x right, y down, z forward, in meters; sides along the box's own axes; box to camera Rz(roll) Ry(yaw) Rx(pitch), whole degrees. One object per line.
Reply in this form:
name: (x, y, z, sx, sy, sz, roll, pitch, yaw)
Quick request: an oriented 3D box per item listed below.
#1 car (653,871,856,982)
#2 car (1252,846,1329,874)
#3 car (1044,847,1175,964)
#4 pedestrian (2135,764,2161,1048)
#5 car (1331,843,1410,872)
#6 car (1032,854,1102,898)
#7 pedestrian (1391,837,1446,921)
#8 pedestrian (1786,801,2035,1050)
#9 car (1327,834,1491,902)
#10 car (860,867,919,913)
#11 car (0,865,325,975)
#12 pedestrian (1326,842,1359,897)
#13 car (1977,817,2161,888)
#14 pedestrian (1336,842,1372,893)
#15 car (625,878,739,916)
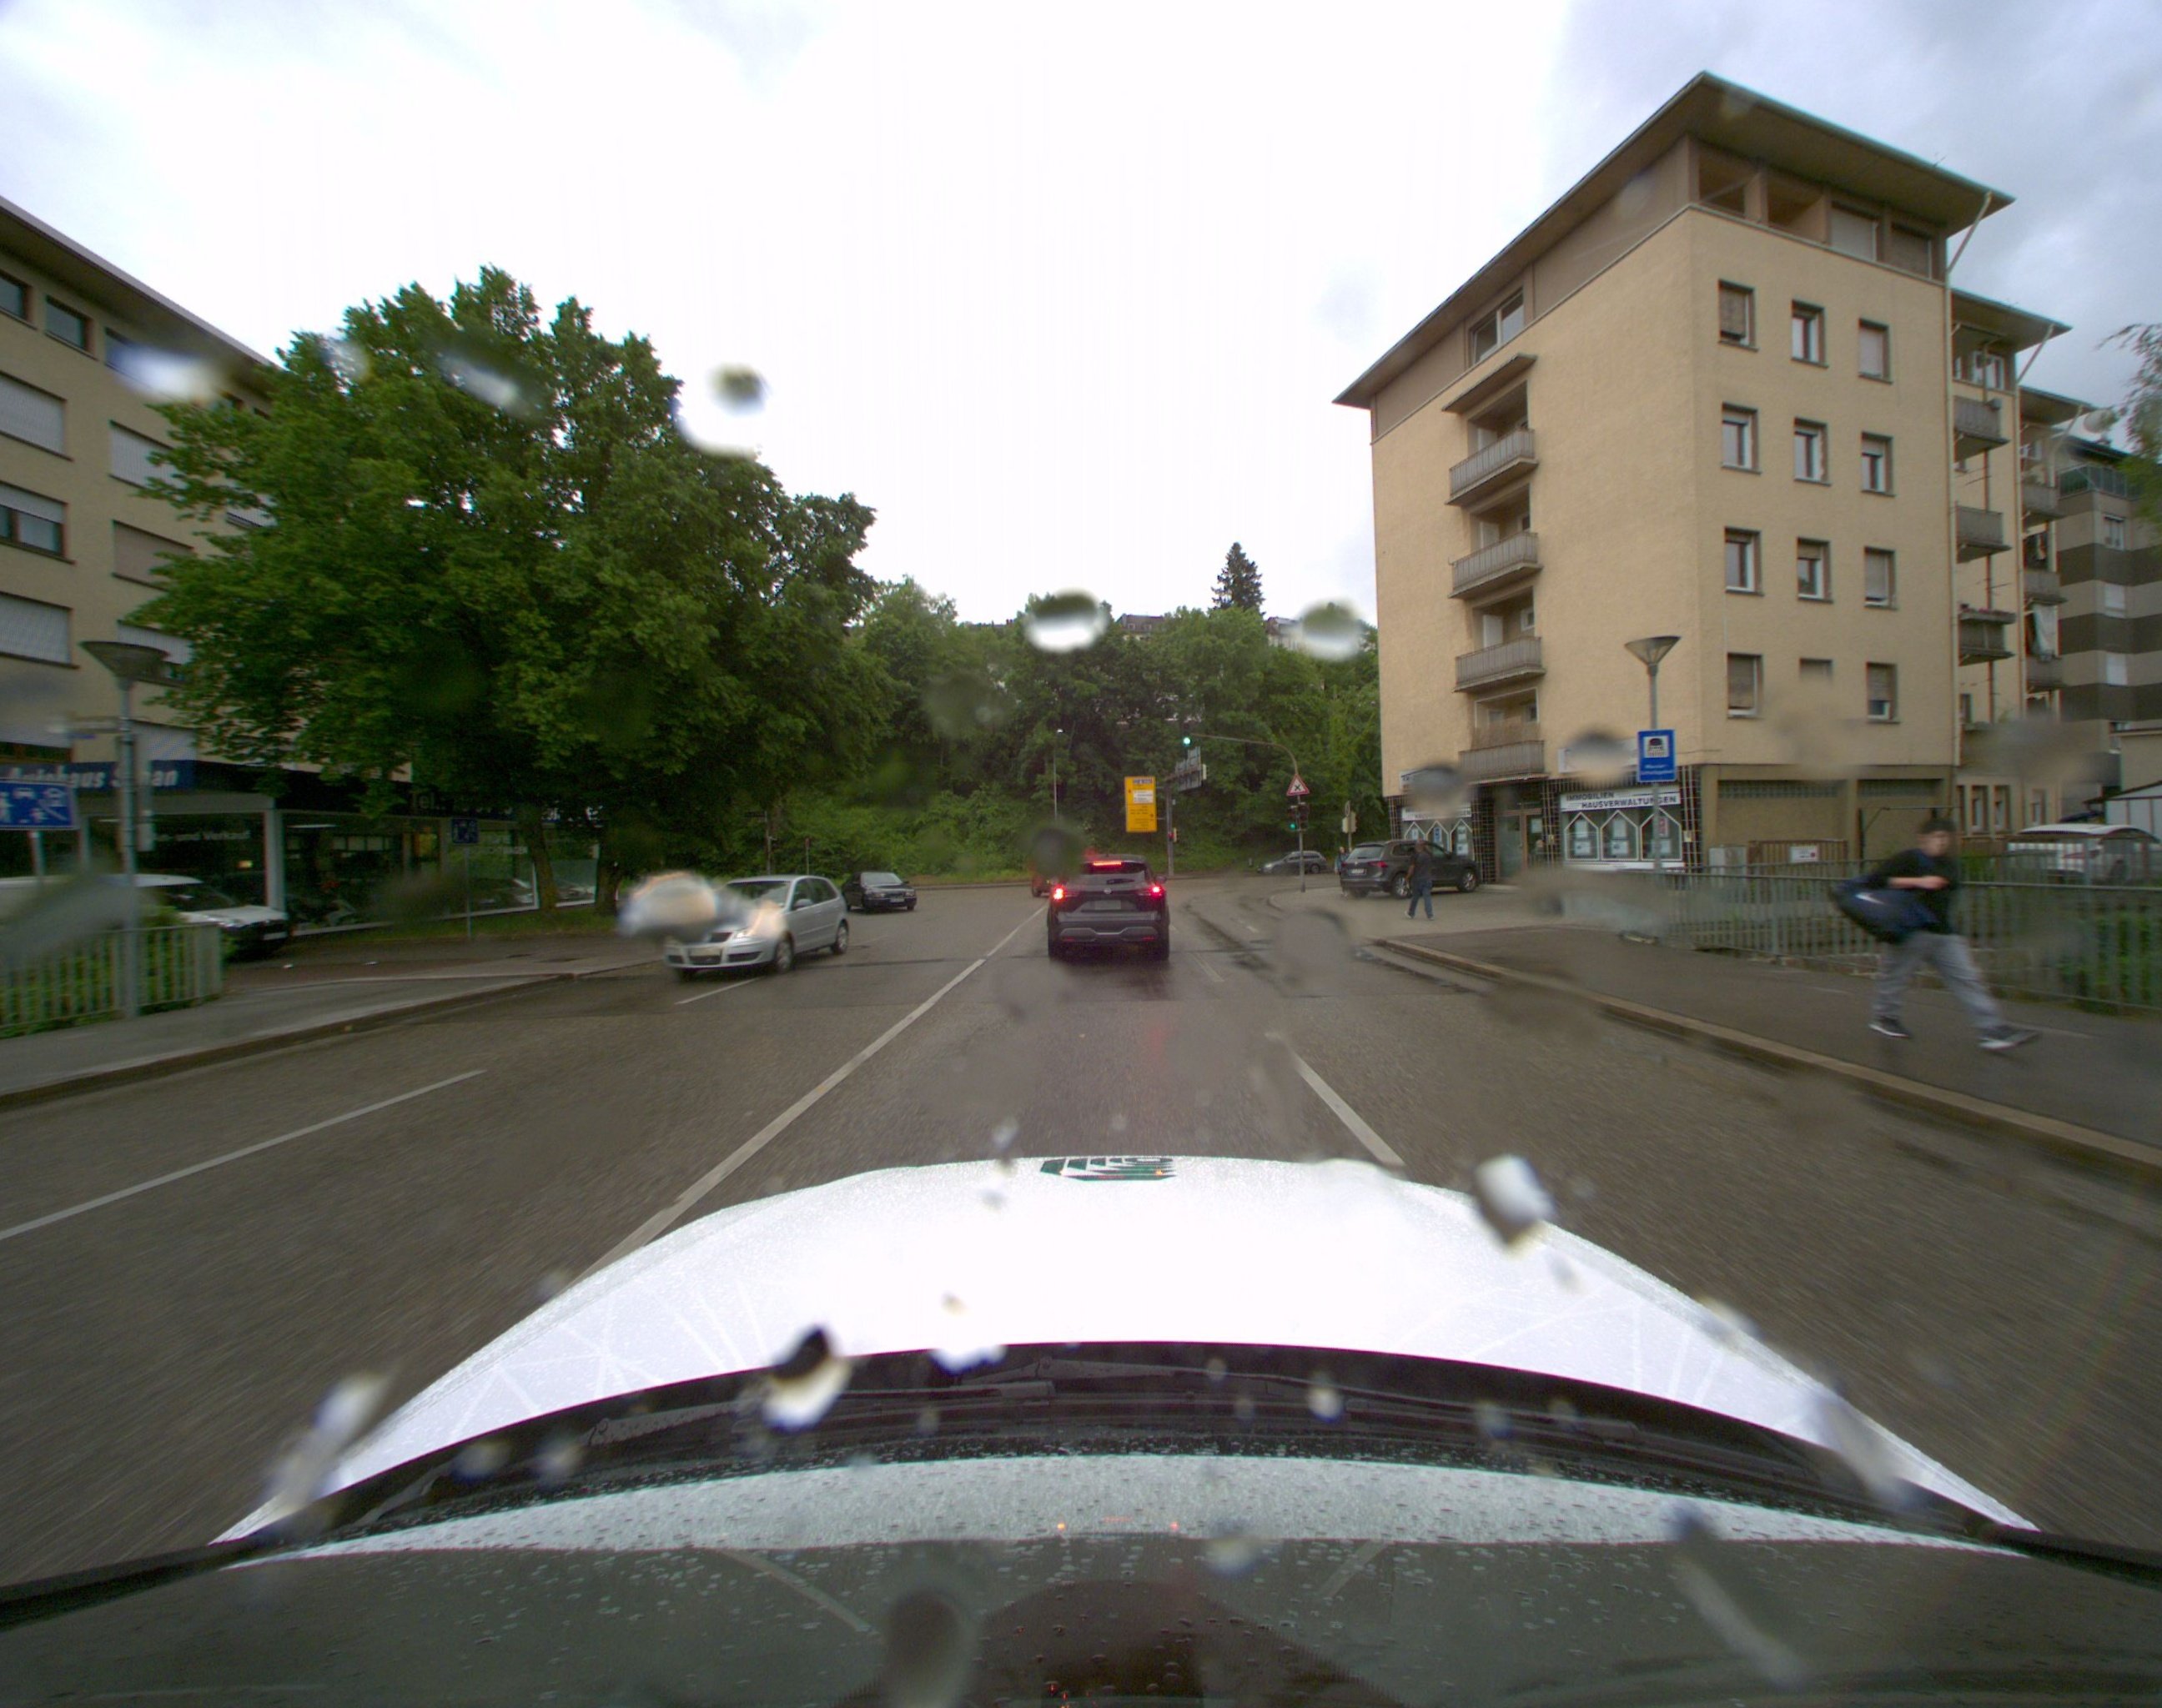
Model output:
car: (-5.053, 1.048, 13.172, 1.620, 1.419, 3.688, -2, 0, 2)
car: (13.376, 0.366, 52.042, 4.325, 1.502, 1.877, -3, 0, -10)
car: (0.456, 0.747, 13.500, 1.804, 1.603, 4.001, -2, -1, 1)
pedestrian: (7.239, 0.321, 4.883, 0.758, 1.809, 0.781, -3, 0, 1)
car: (17.448, 0.215, 49.193, 4.146, 1.561, 1.801, -2, 0, -13)
car: (-0.632, 0.830, 32.701, 1.815, 1.602, 3.978, -1, 1, -16)
pedestrian: (7.060, 0.505, 17.079, 0.758, 1.677, 0.781, -4, 1, 1)
pedestrian: (5.887, 0.474, 5.846, 0.859, 1.619, 0.840, -3, 0, 1)
car: (9.544, 0.380, 23.710, 4.388, 1.649, 1.868, -3, 0, -25)
car: (-7.047, 1.250, 29.683, 1.733, 1.459, 4.401, -2, -1, -17)
car: (-18.794, 1.270, 16.478, 4.738, 1.854, 1.995, -2, 2, -8)
pedestrian: (8.016, 0.473, 24.970, 0.655, 1.600, 0.795, -4, 0, -1)
car: (23.178, -0.087, 18.621, 4.447, 1.376, 1.808, -2, 2, -15)
pedestrian: (8.779, 0.421, 26.178, 0.786, 1.575, 0.754, -4, 1, -44)
car: (-17.882, 1.936, 36.620, 4.173, 1.450, 1.819, -2, 0, 5)
